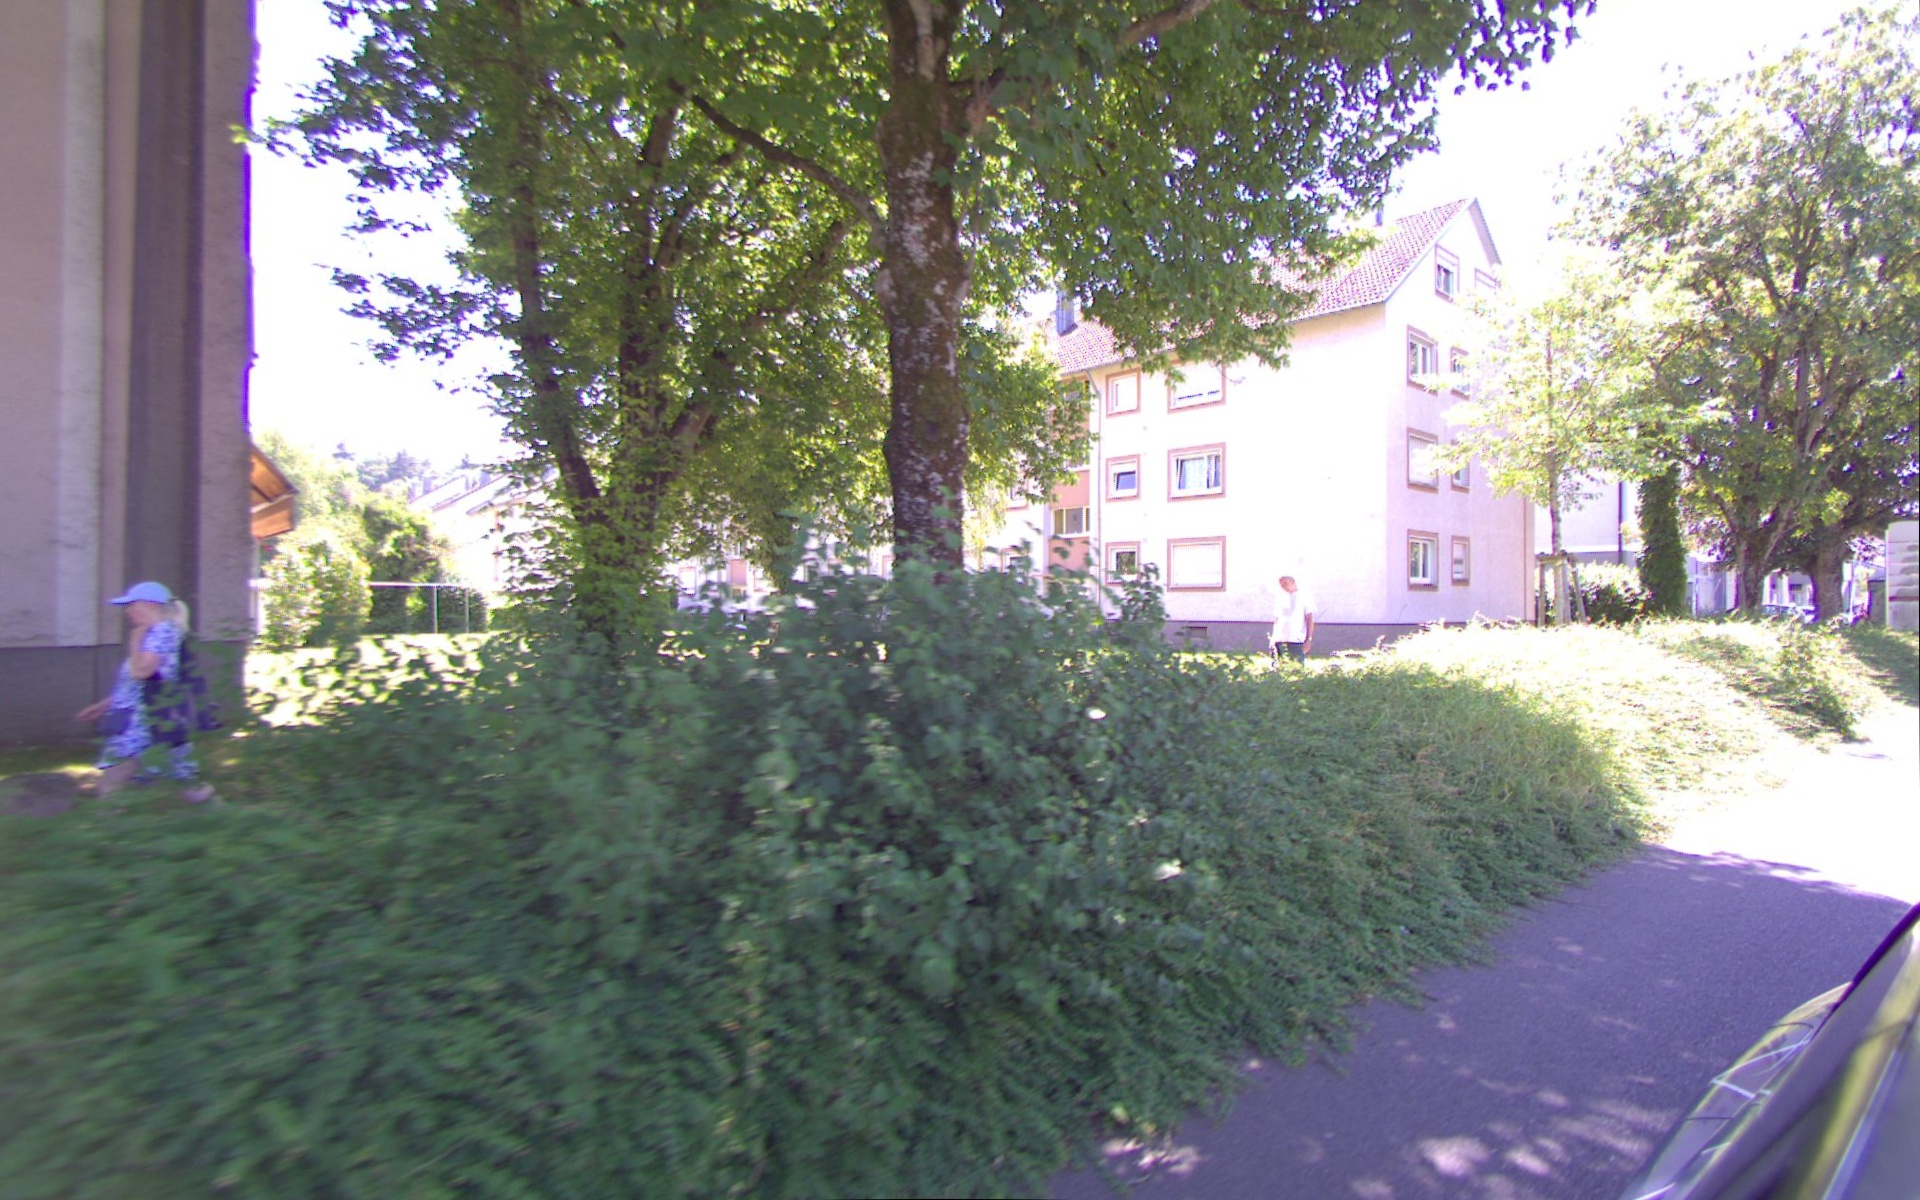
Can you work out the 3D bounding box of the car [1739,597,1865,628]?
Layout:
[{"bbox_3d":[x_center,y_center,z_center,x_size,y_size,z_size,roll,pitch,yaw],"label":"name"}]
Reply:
[{"bbox_3d":[40.487,0.570,48.805,4.316,1.388,1.937,0,0,28],"label":"car"}]

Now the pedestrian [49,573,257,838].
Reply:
[{"bbox_3d":[-4.527,0.530,5.702,0.873,1.351,0.663,0,0,-40],"label":"pedestrian"}]

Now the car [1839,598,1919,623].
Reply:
[{"bbox_3d":[65.387,0.692,71.480,1.958,1.662,4.606,0,1,-21],"label":"car"}]

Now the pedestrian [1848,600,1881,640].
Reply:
[{"bbox_3d":[38.510,0.831,43.098,0.991,1.662,0.842,0,0,-36],"label":"pedestrian"}]

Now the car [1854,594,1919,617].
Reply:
[{"bbox_3d":[68.674,0.380,74.537,1.643,1.552,3.875,0,1,-22],"label":"car"}]

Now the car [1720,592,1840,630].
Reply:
[{"bbox_3d":[37.502,0.475,46.357,1.766,1.569,3.995,0,2,-40],"label":"car"}]

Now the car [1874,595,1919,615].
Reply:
[{"bbox_3d":[71.107,0.379,75.485,1.768,1.479,4.007,0,1,-24],"label":"car"}]

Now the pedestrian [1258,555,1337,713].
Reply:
[{"bbox_3d":[4.302,0.416,12.906,0.648,1.938,0.705,0,0,-37],"label":"pedestrian"}]
